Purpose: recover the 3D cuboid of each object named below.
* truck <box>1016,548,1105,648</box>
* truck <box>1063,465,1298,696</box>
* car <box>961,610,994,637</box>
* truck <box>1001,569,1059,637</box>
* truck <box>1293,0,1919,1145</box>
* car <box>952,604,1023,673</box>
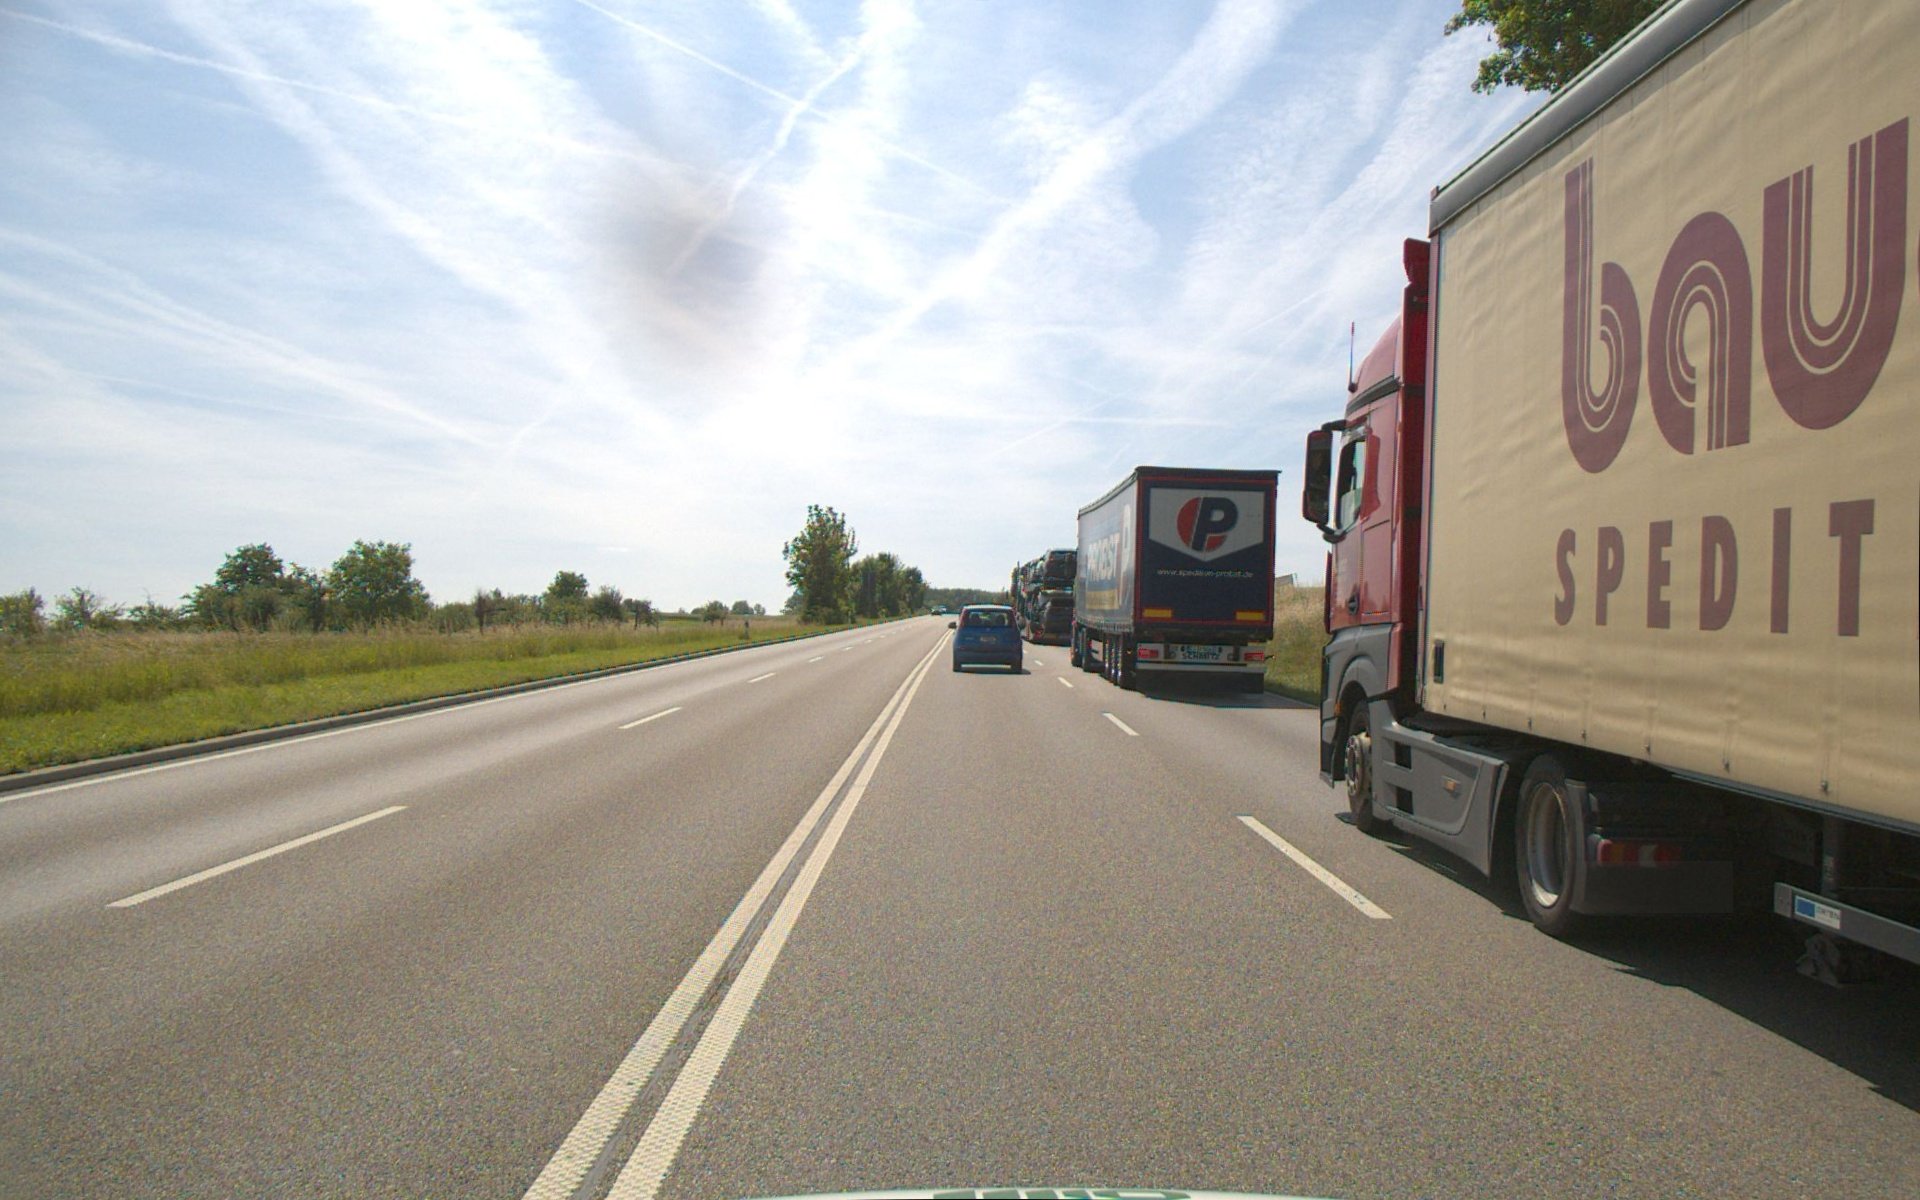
[{"bbox_3d":[4.408,-0.030,76.659,2.984,3.979,18.396,1,0,0],"label":"truck"},{"bbox_3d":[4.370,-0.300,36.902,2.985,3.979,15.613,1,0,0],"label":"truck"},{"bbox_3d":[0.970,1.302,93.779,1.669,1.400,4.602,2,0,-1],"label":"car"},{"bbox_3d":[4.439,0.238,108.527,2.984,3.979,18.396,1,0,0],"label":"truck"},{"bbox_3d":[4.258,-0.536,4.963,2.946,4.253,16.711,1,0,-1],"label":"truck"},{"bbox_3d":[0.713,0.906,40.285,1.598,1.558,3.916,1,0,2],"label":"car"}]
